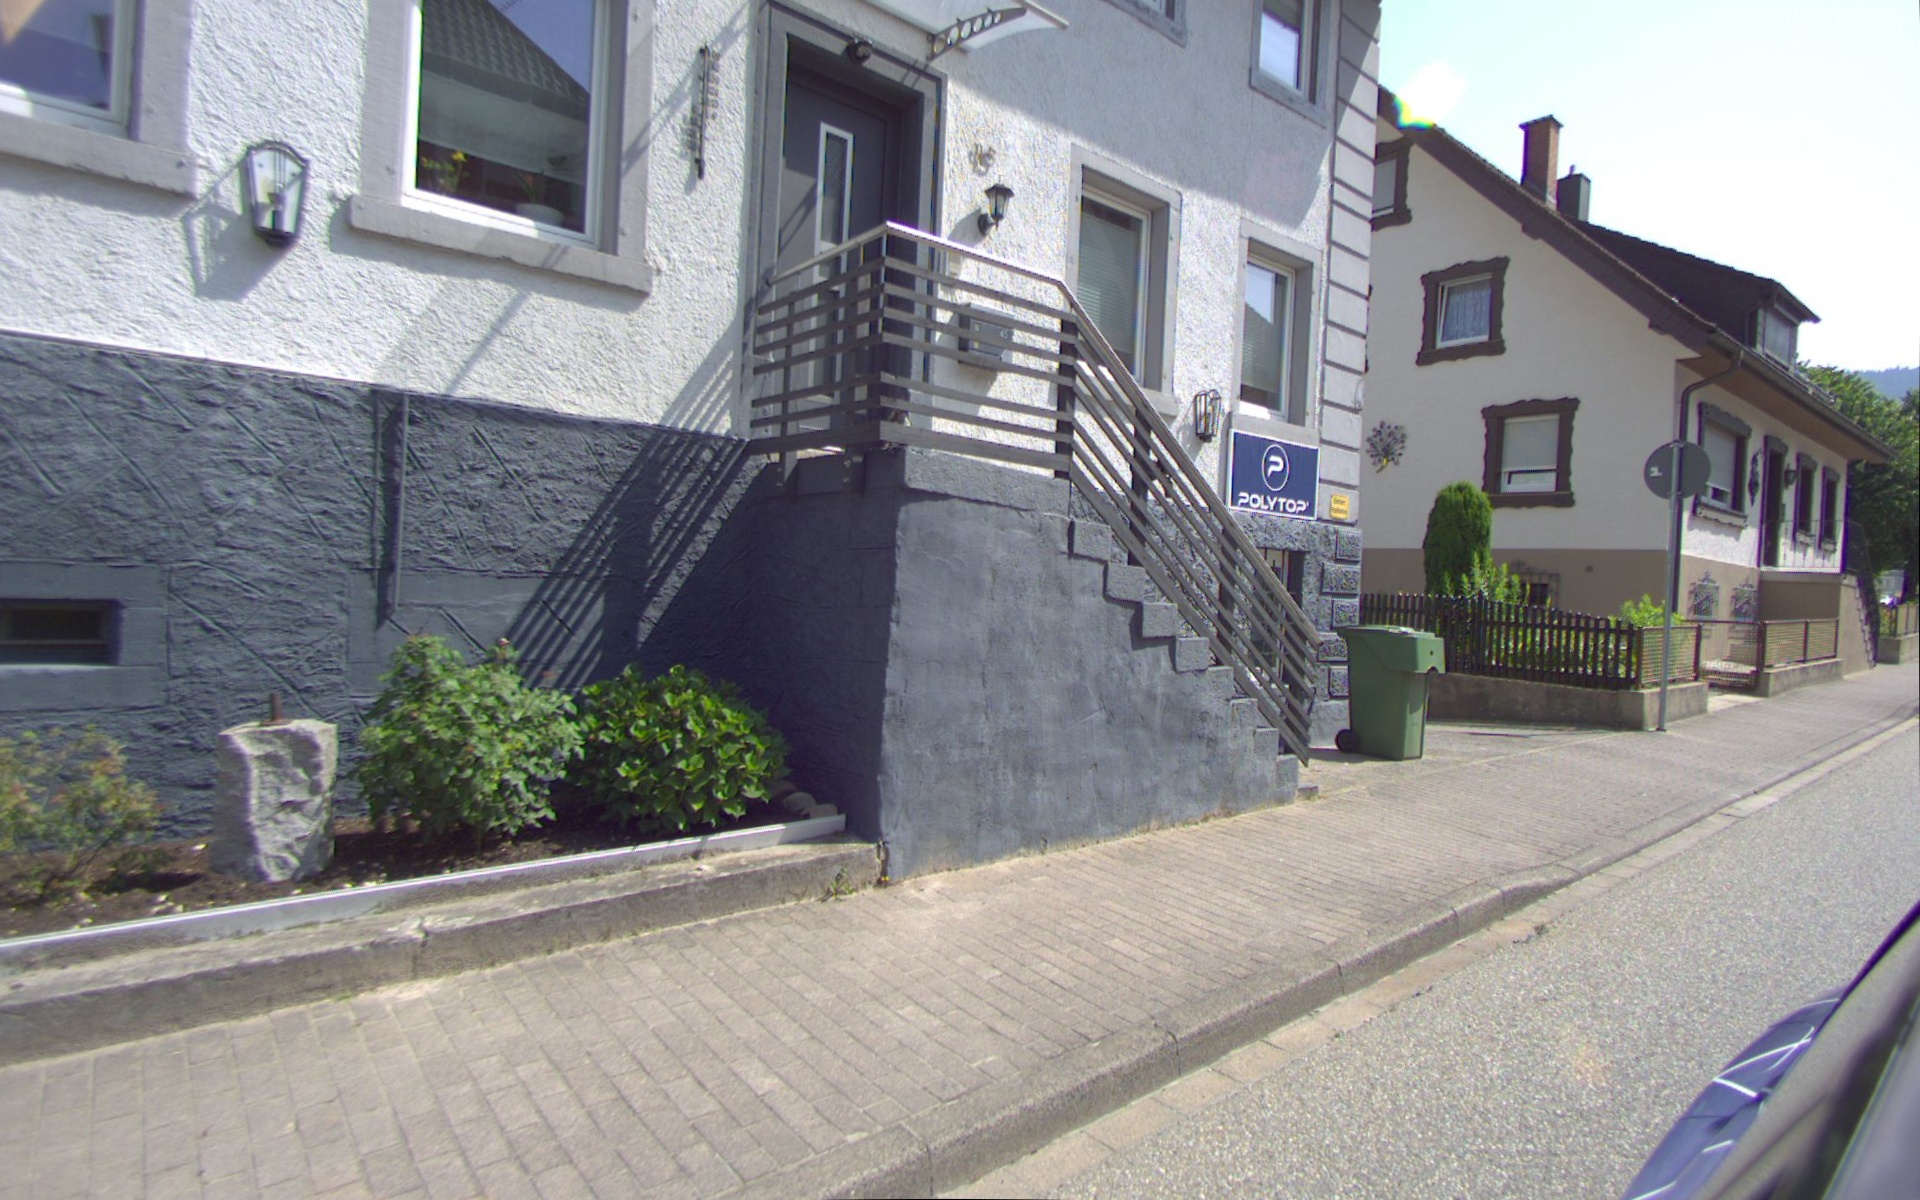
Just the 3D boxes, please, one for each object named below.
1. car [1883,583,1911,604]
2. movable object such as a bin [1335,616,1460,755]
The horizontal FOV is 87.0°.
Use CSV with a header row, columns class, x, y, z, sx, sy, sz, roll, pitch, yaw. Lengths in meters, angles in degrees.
class,x,y,z,sx,sy,sz,roll,pitch,yaw
car,97.176,-0.666,104.936,1.995,2.039,3.935,4,1,44
movable object such as a bin,3.604,0.673,8.351,0.606,1.033,0.706,0,3,-39
